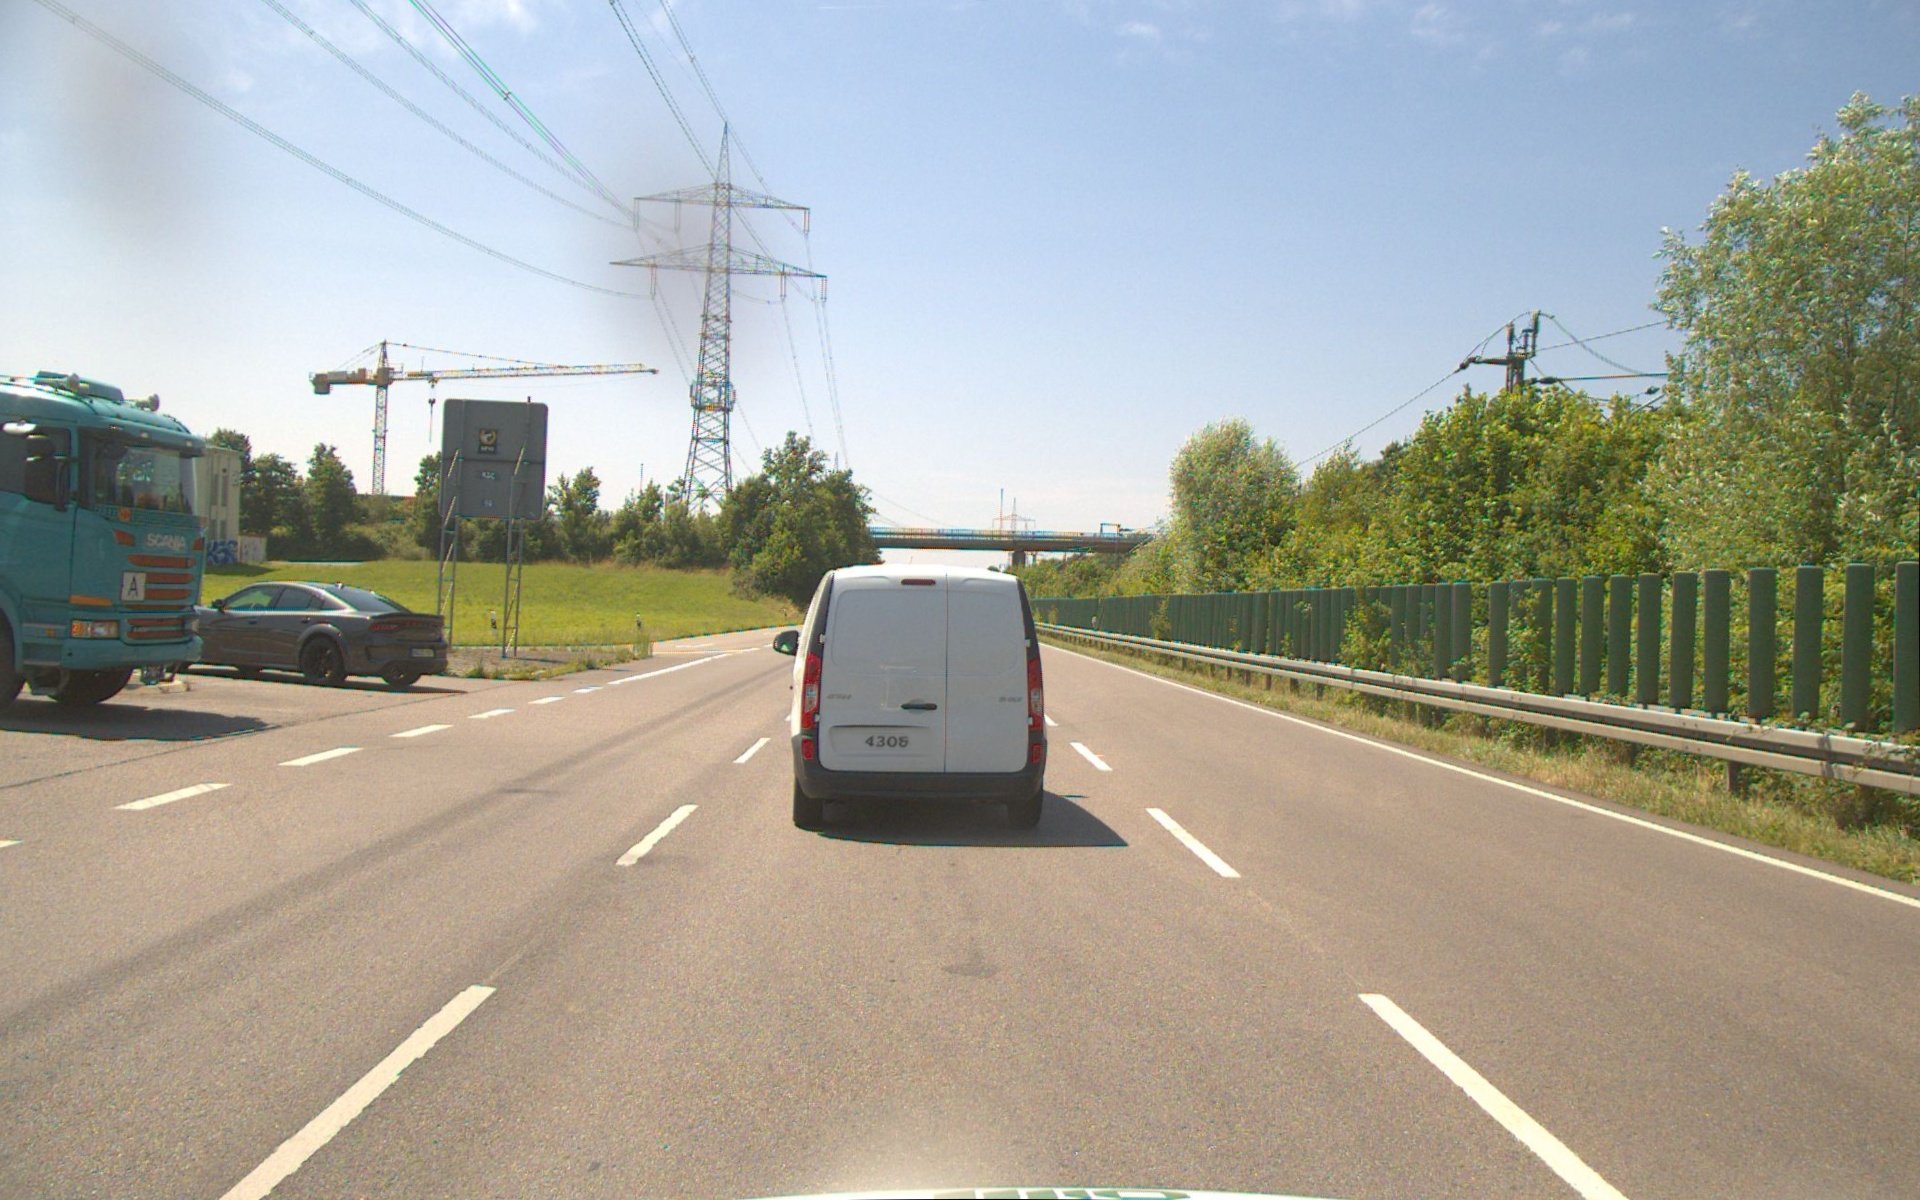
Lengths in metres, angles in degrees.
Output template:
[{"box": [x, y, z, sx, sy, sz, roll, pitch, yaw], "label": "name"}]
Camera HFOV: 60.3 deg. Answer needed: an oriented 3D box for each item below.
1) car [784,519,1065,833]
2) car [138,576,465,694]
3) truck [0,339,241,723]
[{"box": [-0.413, 0.501, 12.648, 1.791, 2.005, 3.995, 1, 0, -6], "label": "car"}, {"box": [-10.061, 0.502, 25.269, 4.544, 1.421, 1.862, 4, 1, 21], "label": "car"}, {"box": [-12.351, -0.903, 17.993, 7.742, 3.799, 2.498, 4, 0, 1], "label": "truck"}]
